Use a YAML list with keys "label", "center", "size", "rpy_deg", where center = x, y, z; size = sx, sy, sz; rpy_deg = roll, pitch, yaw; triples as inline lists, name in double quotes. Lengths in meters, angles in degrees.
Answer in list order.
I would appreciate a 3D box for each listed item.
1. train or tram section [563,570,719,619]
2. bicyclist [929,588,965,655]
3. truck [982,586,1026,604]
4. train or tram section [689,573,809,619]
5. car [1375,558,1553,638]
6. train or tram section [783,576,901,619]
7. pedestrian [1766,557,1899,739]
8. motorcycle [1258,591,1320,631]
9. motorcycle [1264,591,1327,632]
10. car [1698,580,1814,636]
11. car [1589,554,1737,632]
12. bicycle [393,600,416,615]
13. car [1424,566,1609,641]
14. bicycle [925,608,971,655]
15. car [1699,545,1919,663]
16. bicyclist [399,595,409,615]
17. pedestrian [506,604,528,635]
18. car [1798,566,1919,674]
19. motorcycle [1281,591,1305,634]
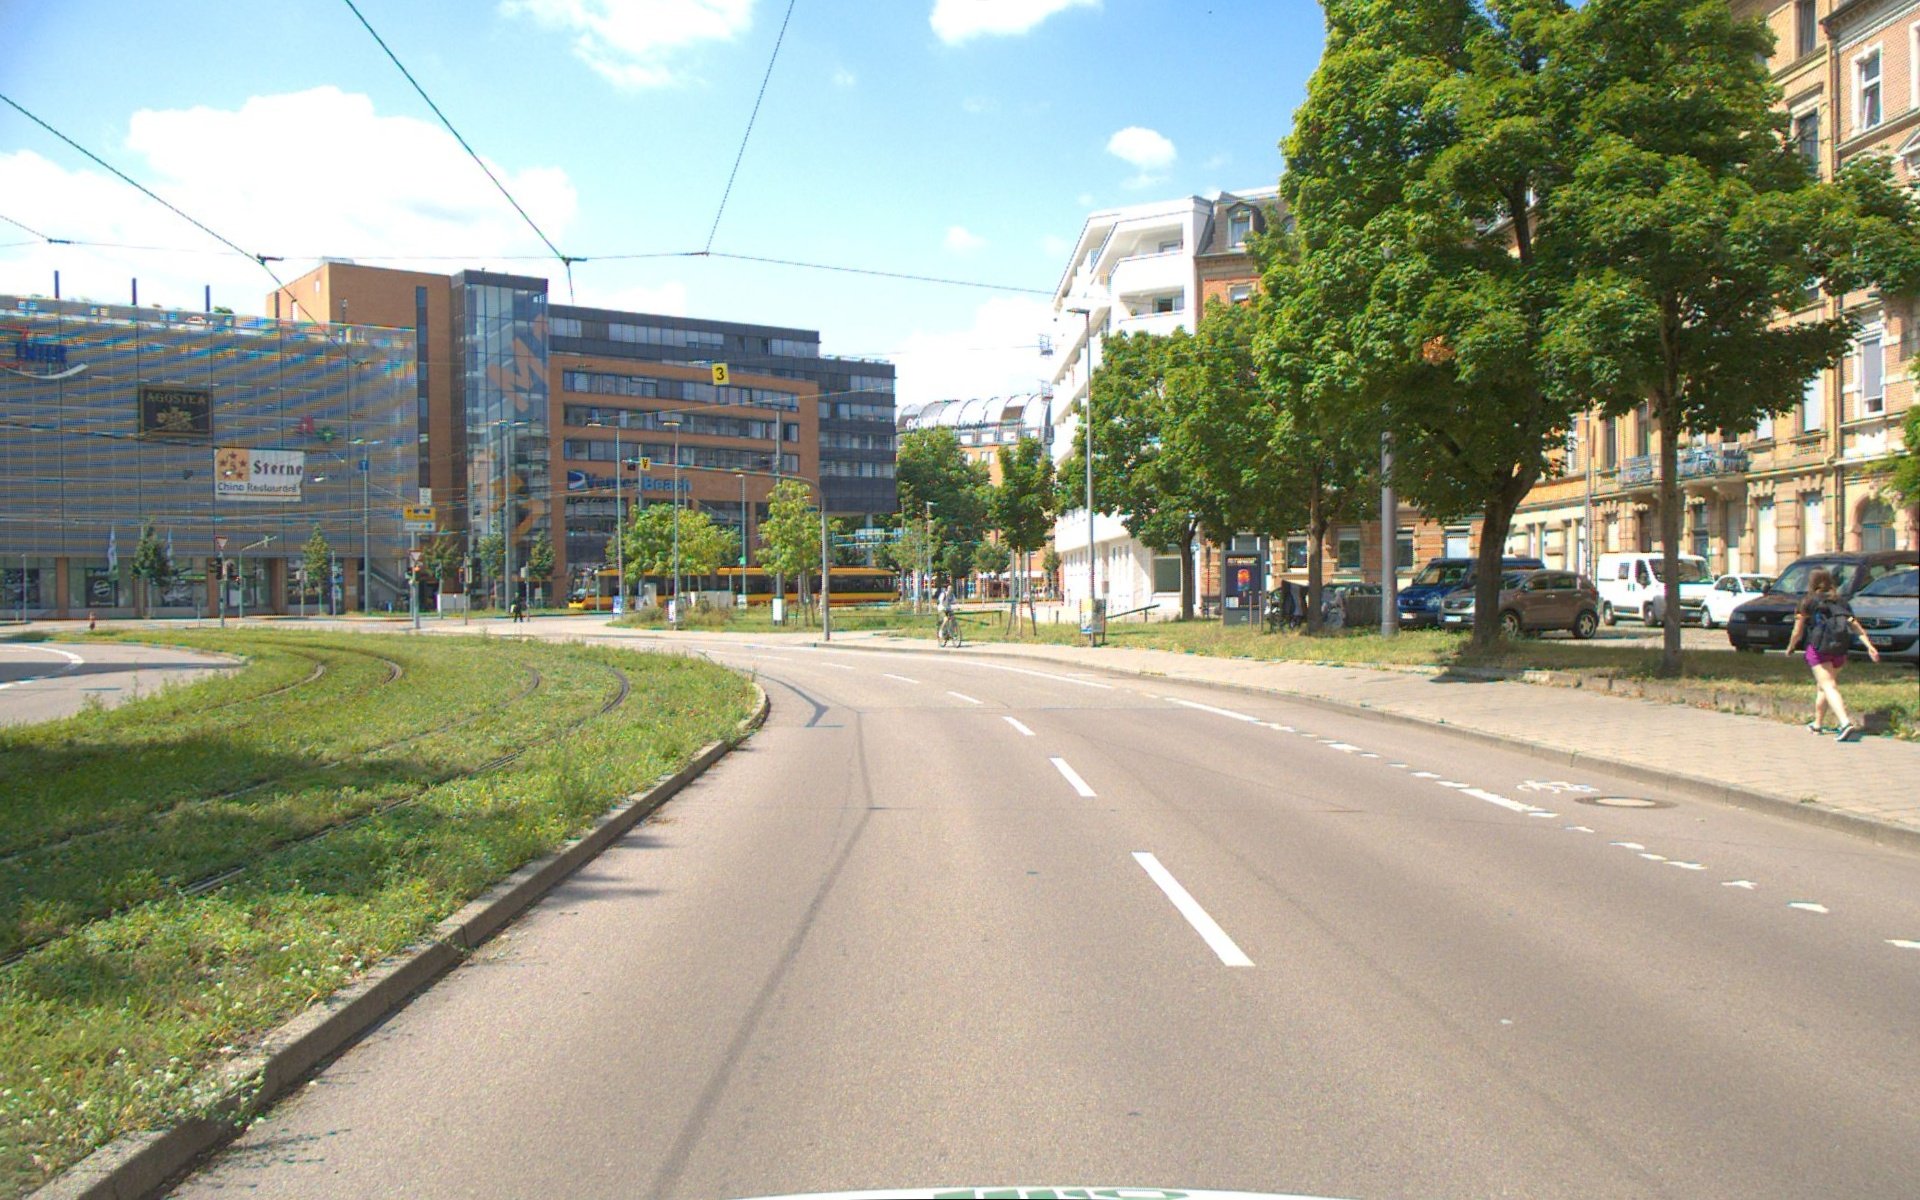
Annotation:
- label: "train or tram section"
  center: [-24.878, -0.358, 130.100]
  size: [3.164, 3.662, 13.441]
  rpy_deg: [0, 0, 37]
- label: "bicyclist"
  center: [-0.379, 0.615, 47.968]
  size: [0.684, 1.856, 0.950]
  rpy_deg: [-3, 1, -21]
- label: "truck"
  center: [5.388, -0.630, 203.915]
  size: [5.423, 2.122, 1.988]
  rpy_deg: [0, 0, 41]
- label: "train or tram section"
  center: [-17.658, -0.293, 139.340]
  size: [3.008, 3.666, 10.936]
  rpy_deg: [0, 0, 39]
- label: "car"
  center: [12.917, -0.033, 42.331]
  size: [4.571, 1.961, 1.895]
  rpy_deg: [1, 0, -33]
- label: "train or tram section"
  center: [-10.456, -0.183, 148.660]
  size: [3.005, 3.684, 12.581]
  rpy_deg: [0, 0, 37]
- label: "pedestrian"
  center: [8.109, 0.430, 15.403]
  size: [0.686, 1.620, 0.905]
  rpy_deg: [-2, 0, -3]
- label: "motorcycle"
  center: [10.104, 0.344, 50.768]
  size: [1.747, 1.187, 0.639]
  rpy_deg: [-1, 0, -3]
- label: "motorcycle"
  center: [10.132, 0.347, 49.990]
  size: [1.747, 1.187, 0.639]
  rpy_deg: [-1, 0, -3]
- label: "car"
  center: [21.248, 0.211, 44.294]
  size: [1.531, 1.427, 3.351]
  rpy_deg: [-1, 0, 1]
- label: "car"
  center: [20.984, -0.185, 49.676]
  size: [2.068, 2.217, 5.392]
  rpy_deg: [0, 0, -1]
- label: "bicycle"
  center: [-46.093, 0.617, 137.308]
  size: [1.748, 1.245, 0.576]
  rpy_deg: [1, -1, -38]
- label: "car"
  center: [13.197, 0.095, 39.212]
  size: [4.114, 1.685, 1.899]
  rpy_deg: [0, 0, -29]
- label: "bicycle"
  center: [-0.354, 0.901, 47.953]
  size: [0.684, 1.264, 1.828]
  rpy_deg: [-3, 1, -21]
- label: "car"
  center: [13.978, 0.074, 26.694]
  size: [4.097, 1.771, 1.832]
  rpy_deg: [1, 0, -33]
- label: "bicyclist"
  center: [-46.134, 0.395, 137.267]
  size: [0.657, 1.652, 0.543]
  rpy_deg: [1, -1, -38]
- label: "pedestrian"
  center: [-25.148, 1.123, 93.904]
  size: [0.897, 1.732, 0.808]
  rpy_deg: [-2, 0, 23]
- label: "car"
  center: [13.890, 0.275, 23.684]
  size: [4.041, 1.430, 1.828]
  rpy_deg: [1, 0, -37]
- label: "motorcycle"
  center: [9.520, 0.355, 47.308]
  size: [0.624, 1.187, 1.908]
  rpy_deg: [-1, 0, 10]
